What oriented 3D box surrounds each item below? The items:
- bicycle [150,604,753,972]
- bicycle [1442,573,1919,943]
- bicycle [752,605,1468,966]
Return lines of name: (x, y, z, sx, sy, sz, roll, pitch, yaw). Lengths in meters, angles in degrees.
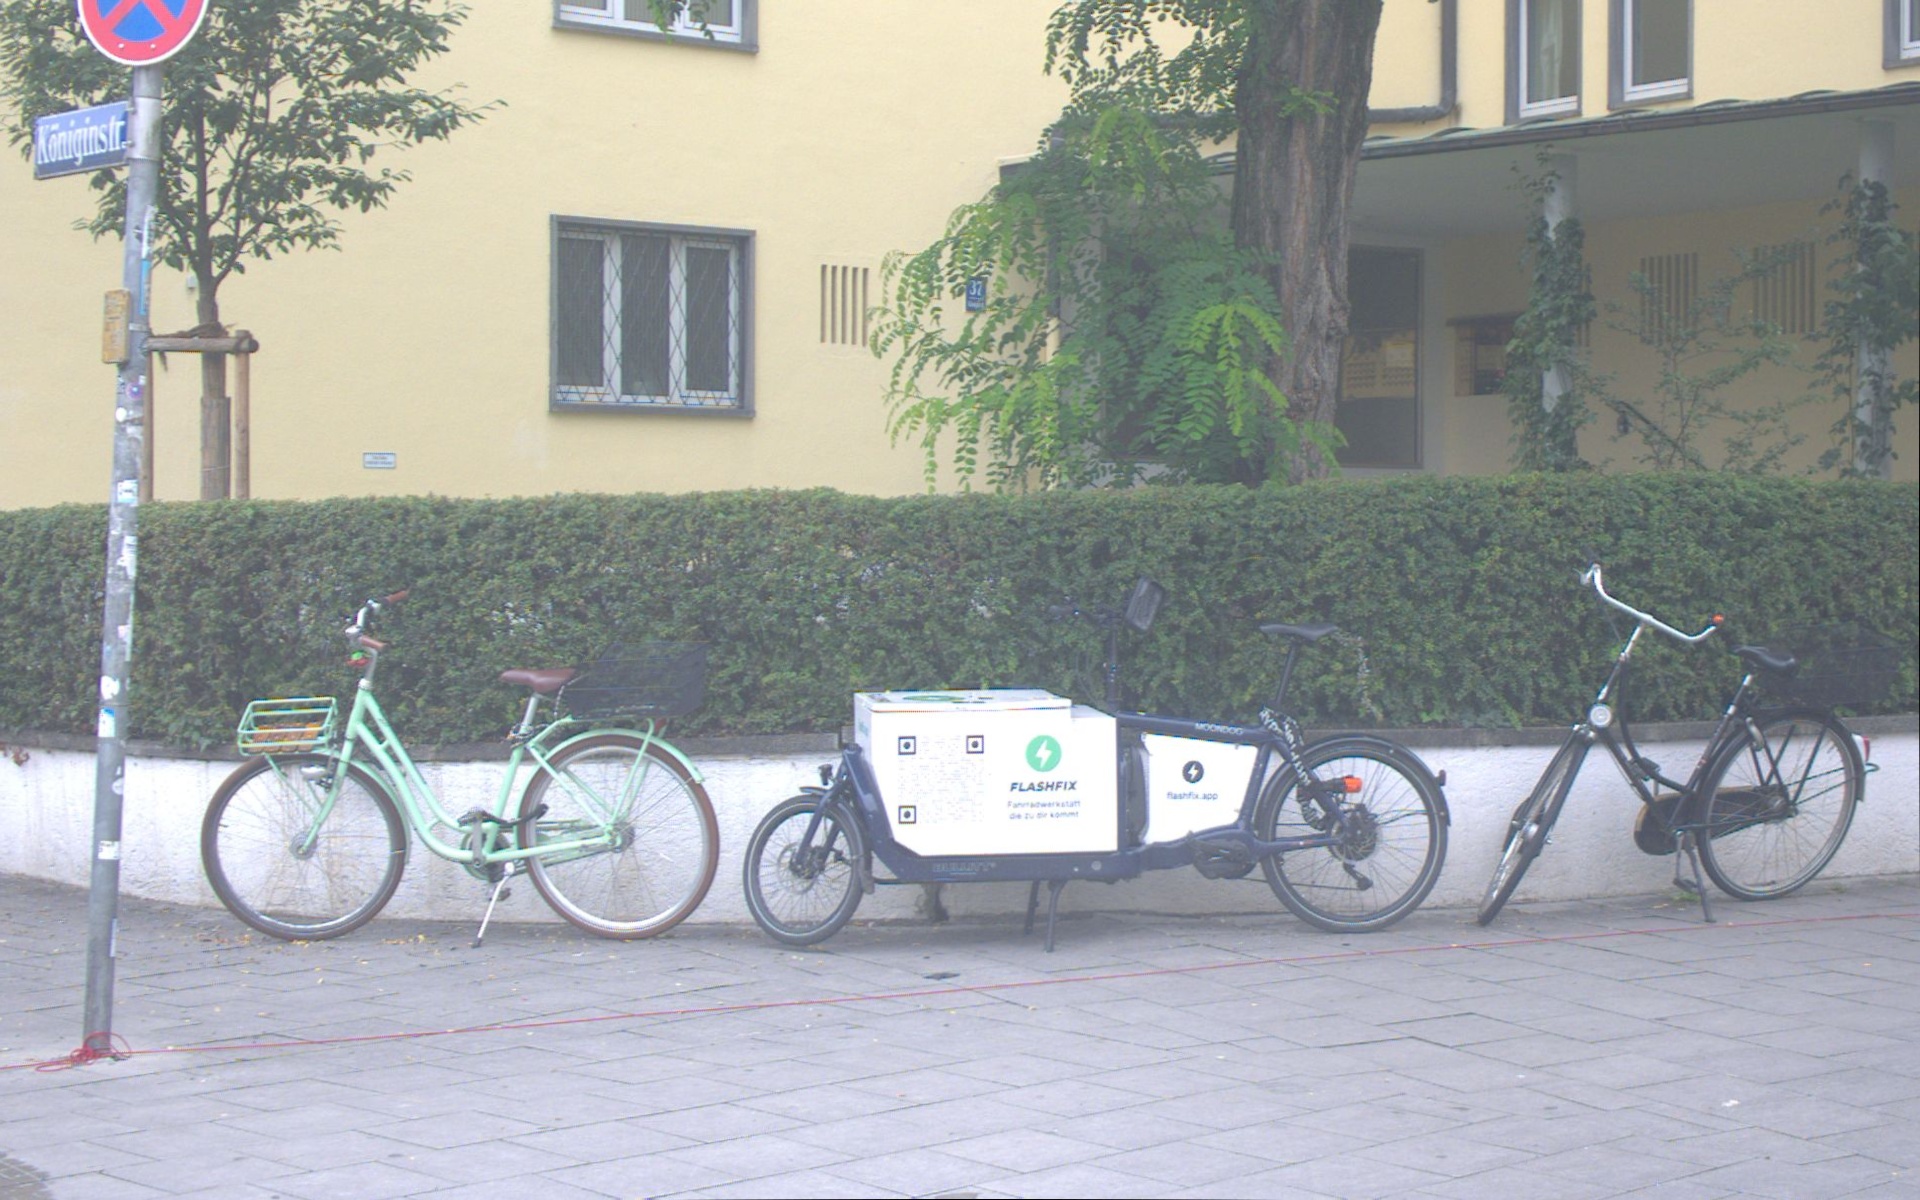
bicycle: (-1.726, 0.607, 11.645, 1.947, 1.152, 0.583, 0, 3, 20)
bicycle: (2.634, 0.521, 12.108, 1.848, 1.206, 0.564, -1, 2, -27)
bicycle: (0.472, 0.593, 11.329, 2.289, 1.122, 0.583, 0, 3, -6)
